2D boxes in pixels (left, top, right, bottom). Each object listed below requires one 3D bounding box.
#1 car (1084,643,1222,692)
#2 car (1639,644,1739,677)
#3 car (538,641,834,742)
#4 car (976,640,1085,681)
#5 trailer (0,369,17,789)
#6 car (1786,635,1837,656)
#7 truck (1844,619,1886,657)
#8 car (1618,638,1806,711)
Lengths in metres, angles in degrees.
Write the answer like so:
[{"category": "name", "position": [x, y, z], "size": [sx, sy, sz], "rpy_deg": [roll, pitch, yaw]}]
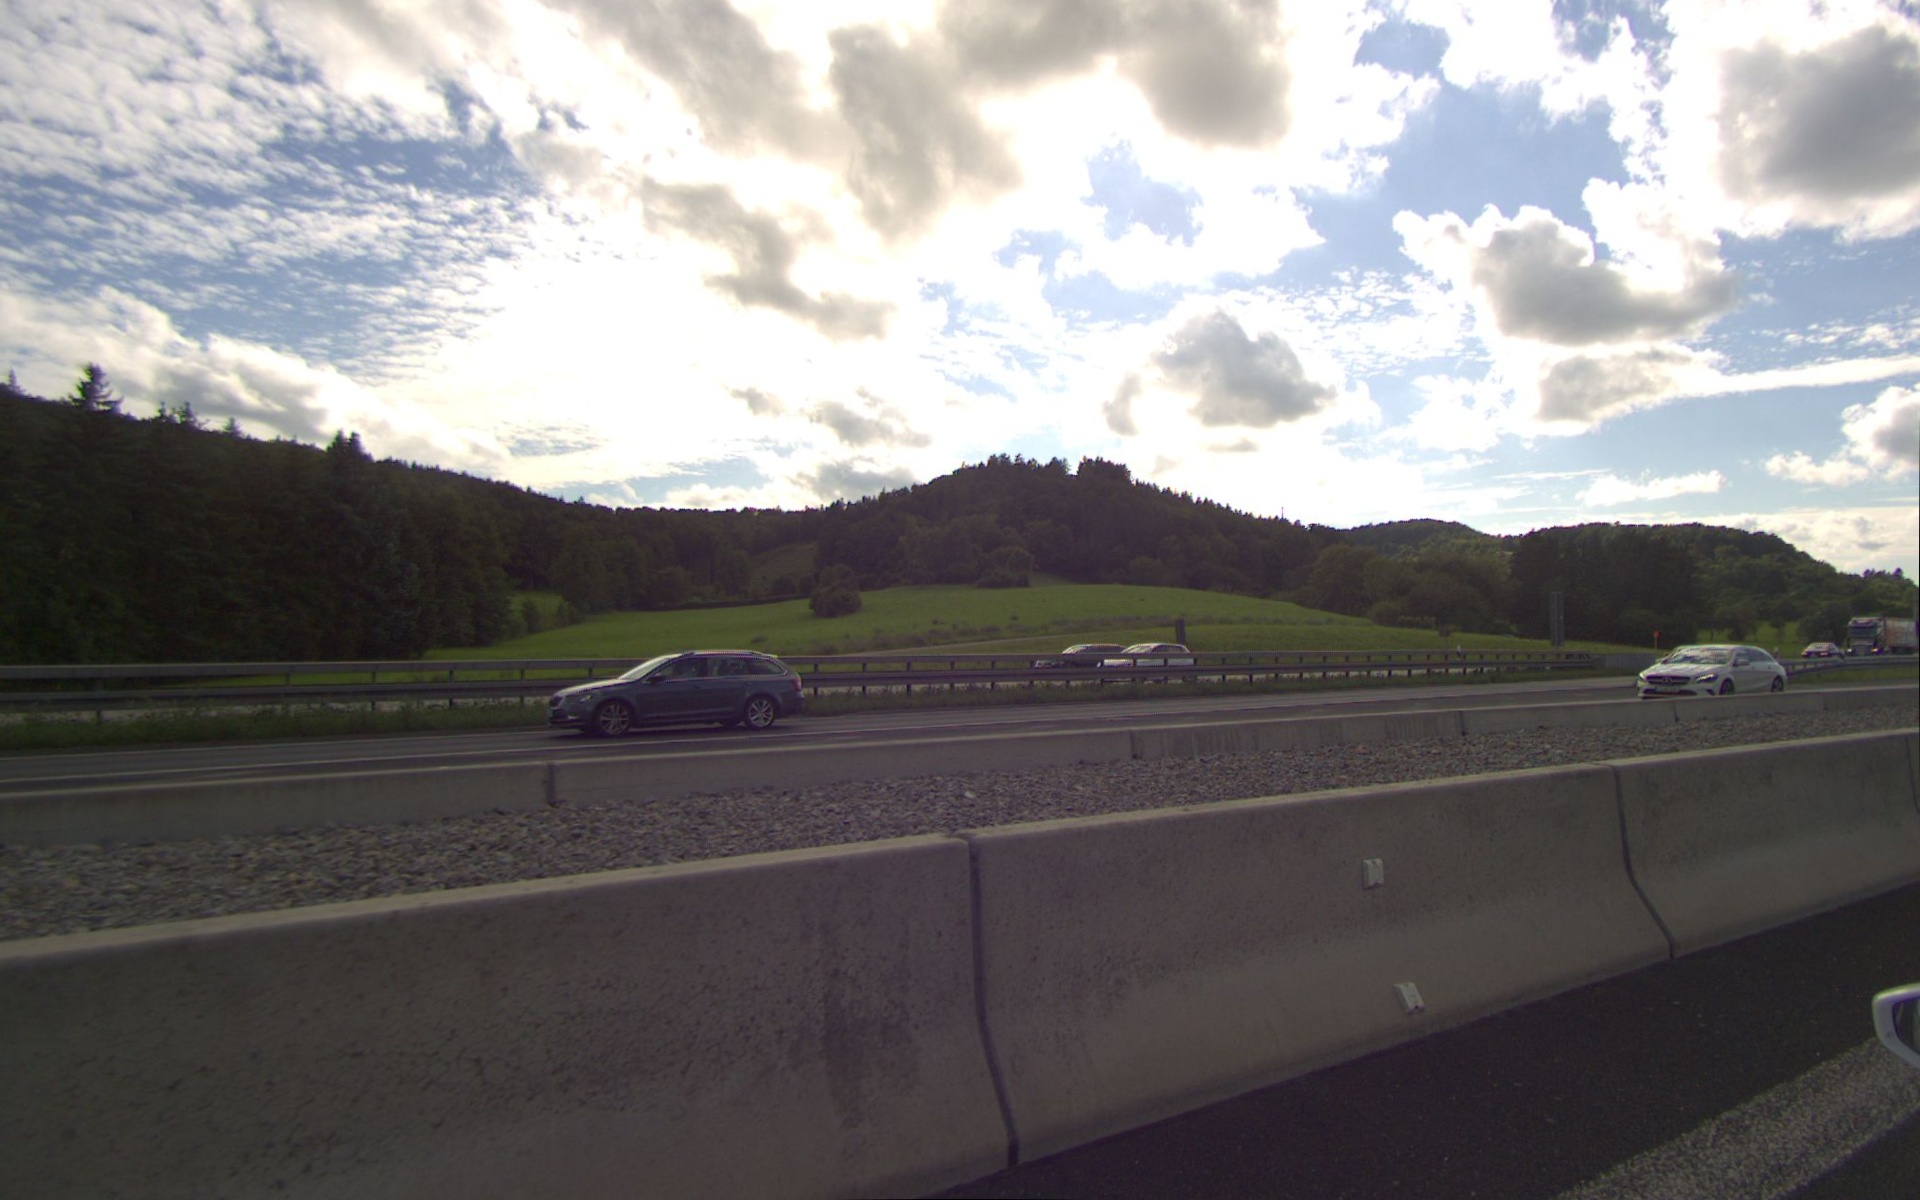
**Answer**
[{"category": "car", "position": [6.820, 2.351, 35.450], "size": [4.653, 1.639, 1.984], "rpy_deg": [2, -3, -30]}, {"category": "car", "position": [33.746, 2.783, 46.465], "size": [4.946, 1.470, 1.983], "rpy_deg": [2, -3, -32]}, {"category": "car", "position": [-4.991, 1.595, 18.515], "size": [4.944, 1.639, 1.984], "rpy_deg": [2, -3, -30]}, {"category": "car", "position": [2.945, 2.478, 41.537], "size": [4.251, 1.639, 1.793], "rpy_deg": [2, -3, -30]}, {"category": "trailer", "position": [-14.341, -0.298, 5.397], "size": [13.127, 4.183, 2.477], "rpy_deg": [2, -3, -31]}, {"category": "car", "position": [67.475, 3.619, 79.604], "size": [4.251, 1.639, 1.793], "rpy_deg": [2, -3, -30]}, {"category": "truck", "position": [91.631, 3.883, 101.725], "size": [5.099, 3.810, 1.981], "rpy_deg": [2, -3, -35]}, {"category": "car", "position": [18.740, 1.802, 24.982], "size": [4.944, 1.639, 1.984], "rpy_deg": [2, -3, -30]}]
